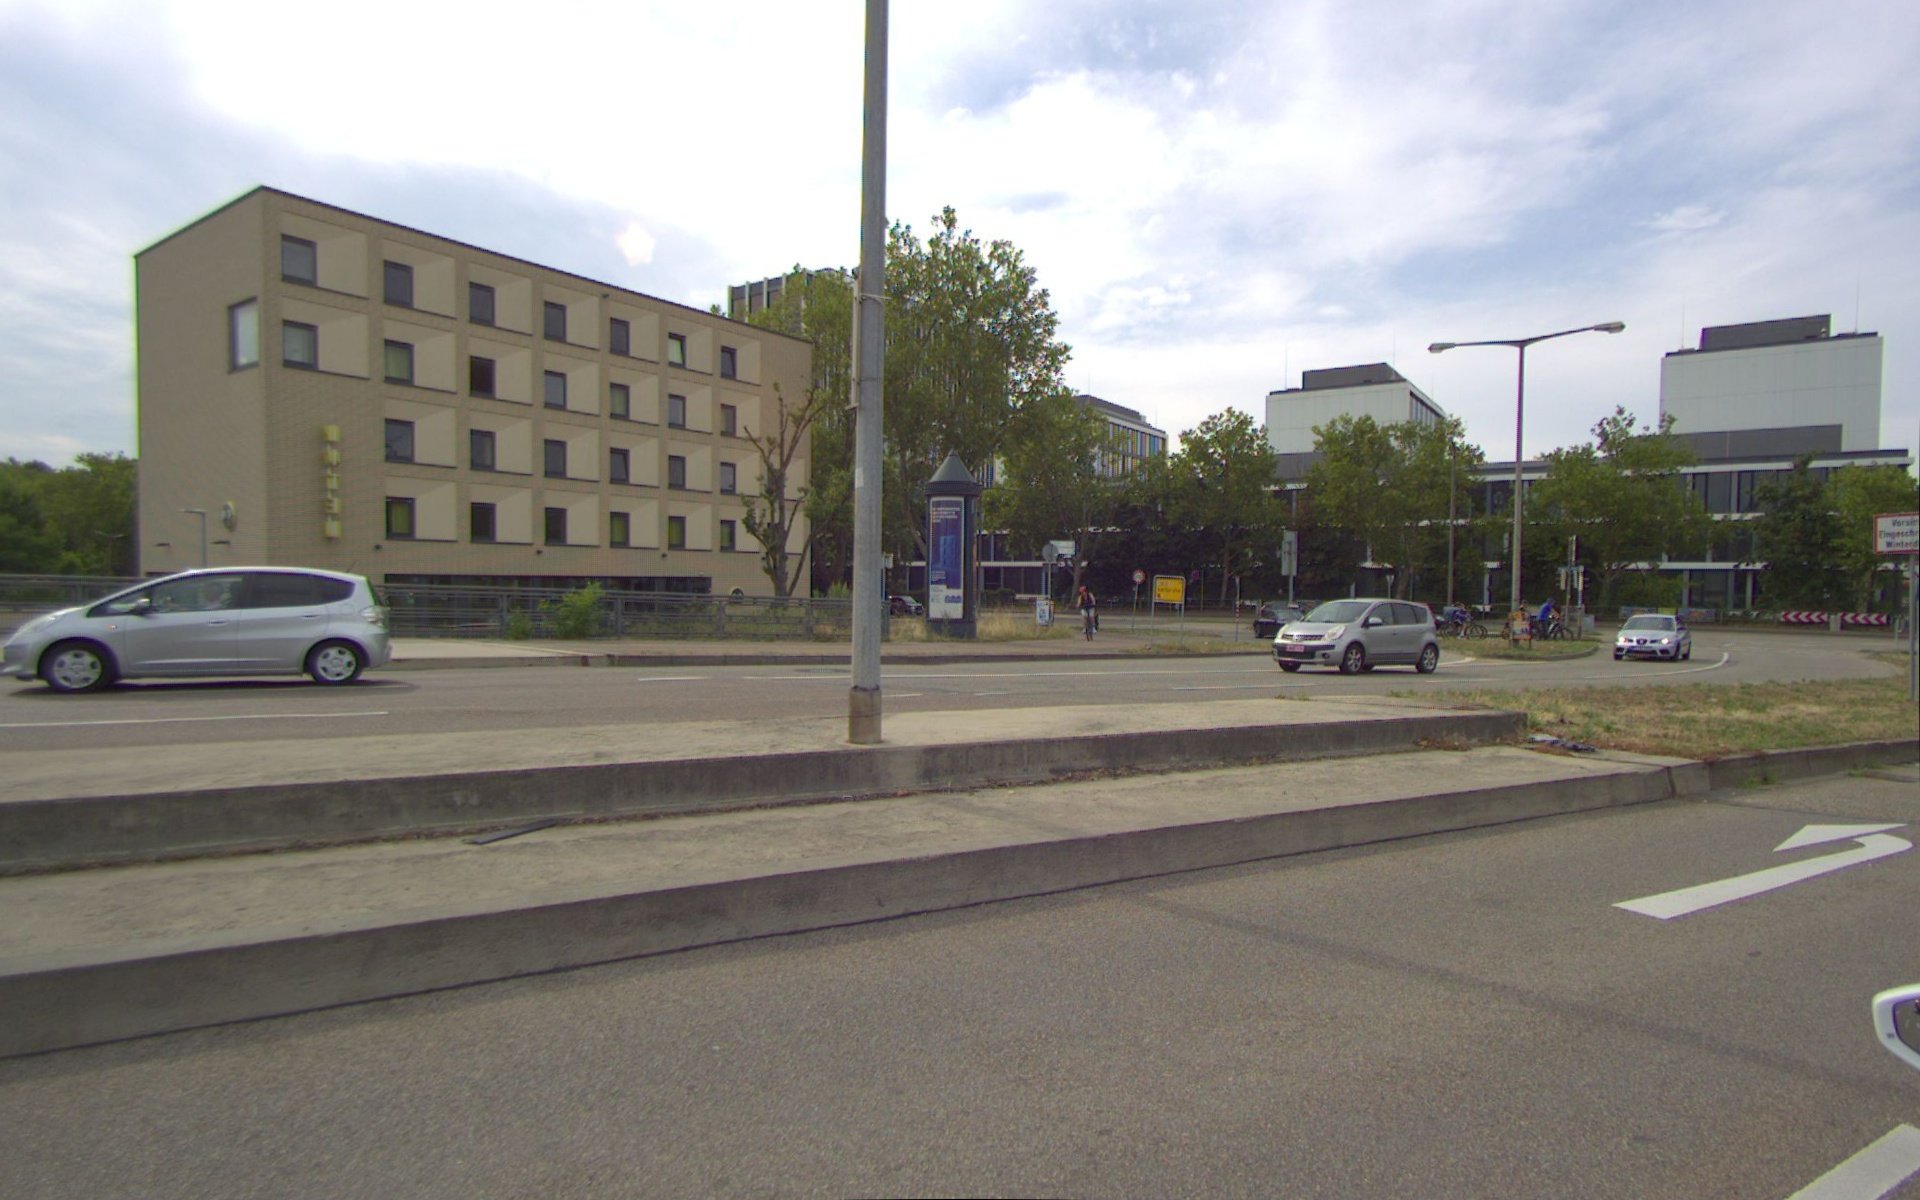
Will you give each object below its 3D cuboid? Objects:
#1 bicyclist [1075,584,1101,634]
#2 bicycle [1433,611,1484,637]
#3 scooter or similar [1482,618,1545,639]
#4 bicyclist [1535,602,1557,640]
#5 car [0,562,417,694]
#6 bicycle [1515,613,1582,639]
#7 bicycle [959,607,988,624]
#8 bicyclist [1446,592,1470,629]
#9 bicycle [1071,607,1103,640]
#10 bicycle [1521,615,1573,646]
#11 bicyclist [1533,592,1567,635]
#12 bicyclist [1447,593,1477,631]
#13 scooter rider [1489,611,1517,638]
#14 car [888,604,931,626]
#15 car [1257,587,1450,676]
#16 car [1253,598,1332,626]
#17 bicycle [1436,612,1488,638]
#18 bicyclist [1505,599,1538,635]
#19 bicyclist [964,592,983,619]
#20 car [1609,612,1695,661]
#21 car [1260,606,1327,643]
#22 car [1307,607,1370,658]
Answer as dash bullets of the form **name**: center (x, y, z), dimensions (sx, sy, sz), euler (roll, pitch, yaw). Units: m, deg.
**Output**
- **bicyclist**: center (4.446, 0.298, 34.892), dimensions (0.673, 1.694, 0.847), euler (2, 1, 20)
- **bicycle**: center (21.442, 1.013, 43.212), dimensions (1.869, 1.027, 0.628), euler (1, 1, 19)
- **scooter or similar**: center (24.774, 1.256, 45.009), dimensions (2.338, 0.861, 0.809), euler (1, 1, 15)
- **bicyclist**: center (25.060, 0.895, 42.921), dimensions (0.768, 1.602, 0.653), euler (2, 1, 31)
- **car**: center (-9.222, 0.345, 12.740), dimensions (3.986, 1.434, 1.798), euler (2, 0, -33)
- **bicycle**: center (23.544, 1.038, 40.217), dimensions (2.190, 0.965, 0.812), euler (1, 1, 5)
- **bicycle**: center (0.815, 0.930, 60.134), dimensions (0.733, 0.921, 2.102), euler (1, 1, -30)
- **bicyclist**: center (21.411, 0.460, 43.222), dimensions (0.824, 1.550, 0.628), euler (1, 1, 19)
- **bicycle**: center (4.414, 0.789, 34.861), dimensions (0.673, 1.068, 1.994), euler (2, 1, 20)
- **bicycle**: center (25.070, 1.291, 42.934), dimensions (1.874, 1.226, 0.641), euler (2, 1, 31)
- **bicyclist**: center (23.611, 0.529, 40.209), dimensions (0.866, 1.678, 0.812), euler (1, 1, 5)
- **bicyclist**: center (21.146, 0.517, 42.335), dimensions (0.999, 1.560, 0.628), euler (1, 1, 20)
- **scooter rider**: center (24.372, 1.096, 45.112), dimensions (0.898, 1.152, 0.809), euler (1, 1, 15)
- **car**: center (-3.606, 1.072, 71.695), dimensions (2.673, 1.441, 1.495), euler (2, 1, 33)
- **car**: center (8.190, 0.653, 20.817), dimensions (4.036, 1.680, 1.731), euler (2, -1, -34)
- **car**: center (19.140, 0.672, 57.873), dimensions (4.003, 1.470, 1.697), euler (2, 1, 36)
- **bicycle**: center (21.162, 1.048, 42.346), dimensions (1.870, 1.027, 0.628), euler (1, 1, 20)
- **bicyclist**: center (23.688, 0.708, 42.382), dimensions (1.095, 1.456, 0.647), euler (1, 1, 23)
- **bicyclist**: center (0.802, 0.331, 60.176), dimensions (0.733, 1.636, 0.913), euler (1, 1, -30)
- **car**: center (21.611, 1.129, 31.327), dimensions (1.599, 1.429, 3.837), euler (1, -1, 44)
- **car**: center (14.700, 1.059, 44.509), dimensions (1.790, 1.465, 4.354), euler (2, 0, 4)
- **car**: center (11.740, 0.984, 31.168), dimensions (1.713, 1.429, 3.876), euler (1, -1, 21)
